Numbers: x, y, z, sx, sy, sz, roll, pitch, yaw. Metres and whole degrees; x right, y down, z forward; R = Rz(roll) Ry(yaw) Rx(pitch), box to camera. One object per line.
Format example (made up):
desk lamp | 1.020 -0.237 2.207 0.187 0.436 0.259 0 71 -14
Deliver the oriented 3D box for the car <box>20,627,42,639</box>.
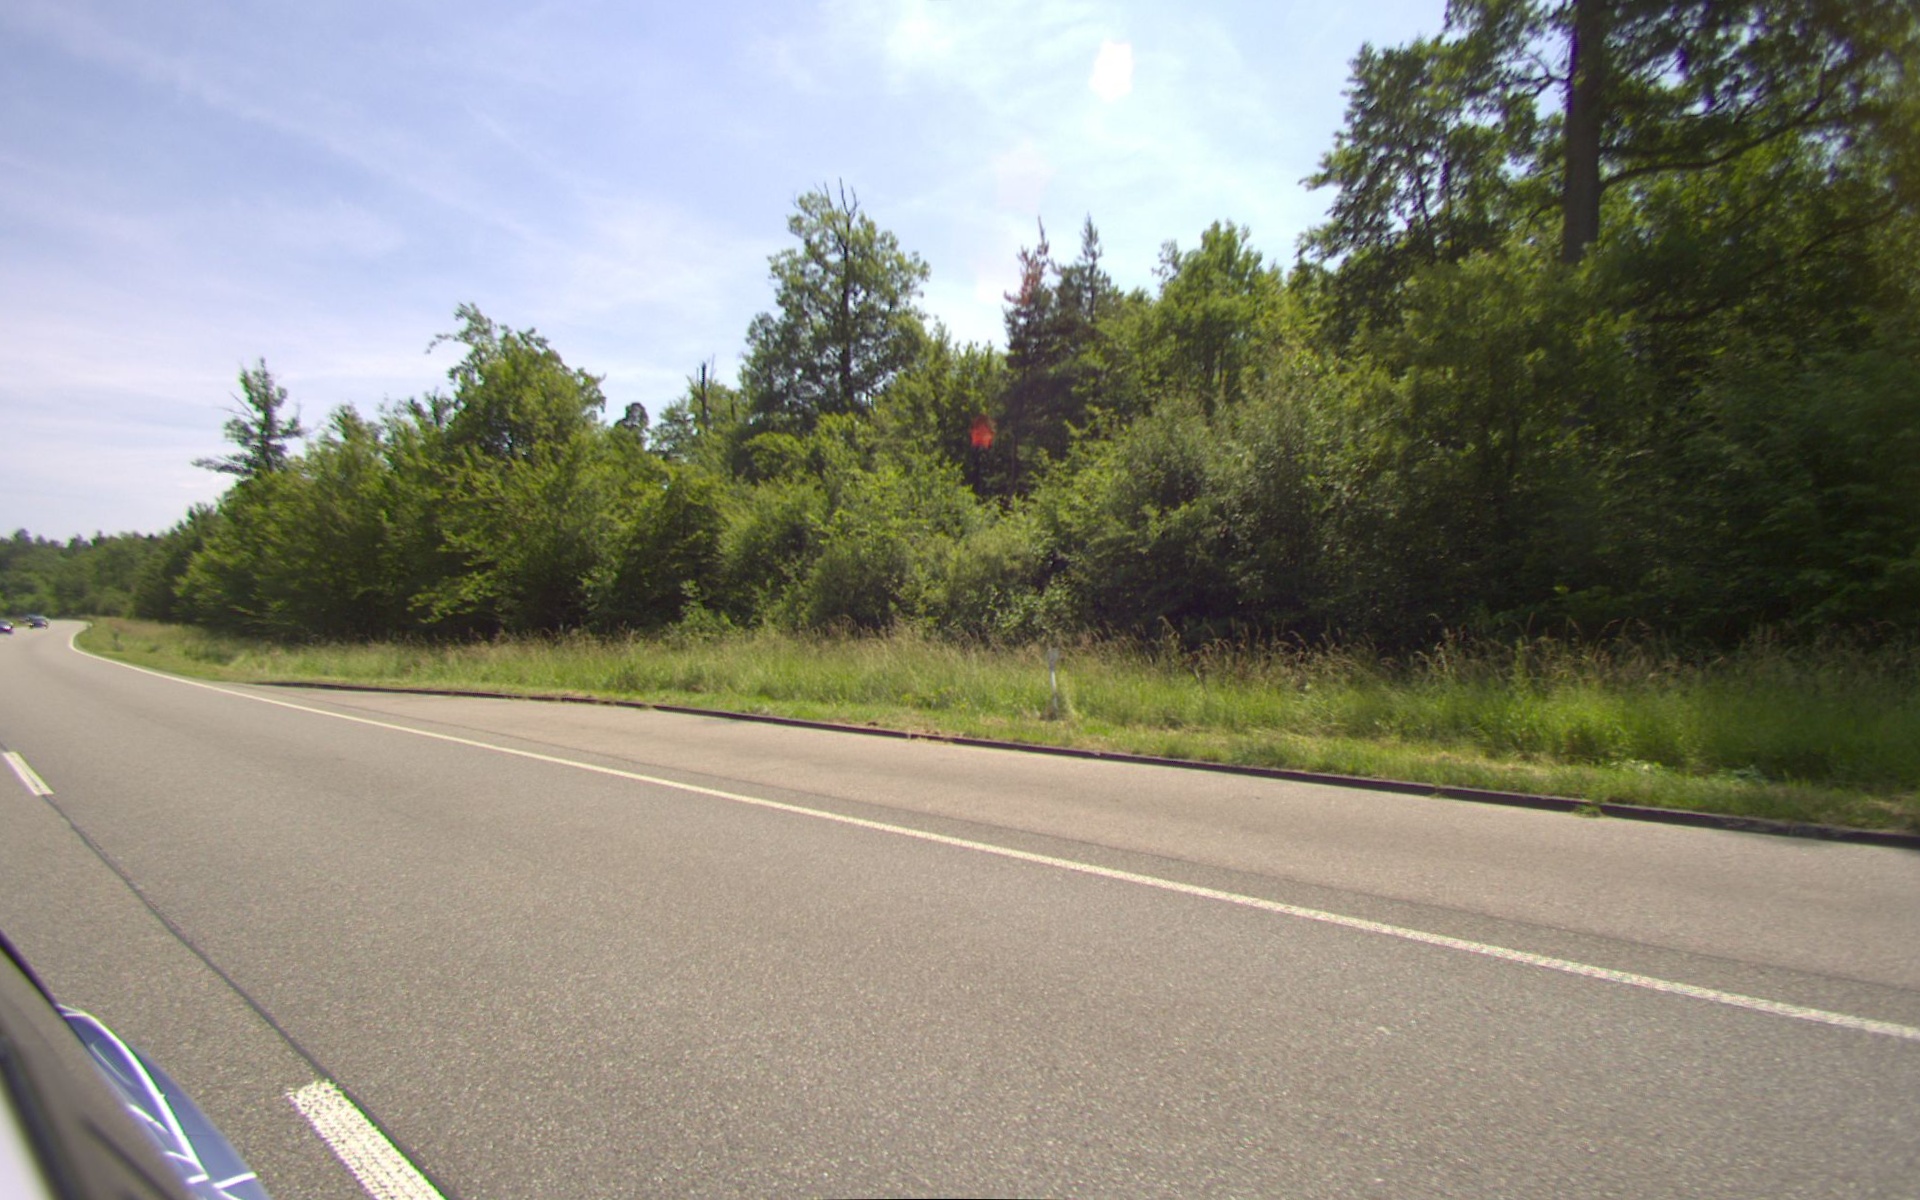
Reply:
car | -121.242 4.321 132.056 1.749 1.474 4.008 0 -1 -38

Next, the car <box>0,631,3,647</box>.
car | -91.208 3.716 95.153 1.750 1.474 3.952 0 -1 -43
